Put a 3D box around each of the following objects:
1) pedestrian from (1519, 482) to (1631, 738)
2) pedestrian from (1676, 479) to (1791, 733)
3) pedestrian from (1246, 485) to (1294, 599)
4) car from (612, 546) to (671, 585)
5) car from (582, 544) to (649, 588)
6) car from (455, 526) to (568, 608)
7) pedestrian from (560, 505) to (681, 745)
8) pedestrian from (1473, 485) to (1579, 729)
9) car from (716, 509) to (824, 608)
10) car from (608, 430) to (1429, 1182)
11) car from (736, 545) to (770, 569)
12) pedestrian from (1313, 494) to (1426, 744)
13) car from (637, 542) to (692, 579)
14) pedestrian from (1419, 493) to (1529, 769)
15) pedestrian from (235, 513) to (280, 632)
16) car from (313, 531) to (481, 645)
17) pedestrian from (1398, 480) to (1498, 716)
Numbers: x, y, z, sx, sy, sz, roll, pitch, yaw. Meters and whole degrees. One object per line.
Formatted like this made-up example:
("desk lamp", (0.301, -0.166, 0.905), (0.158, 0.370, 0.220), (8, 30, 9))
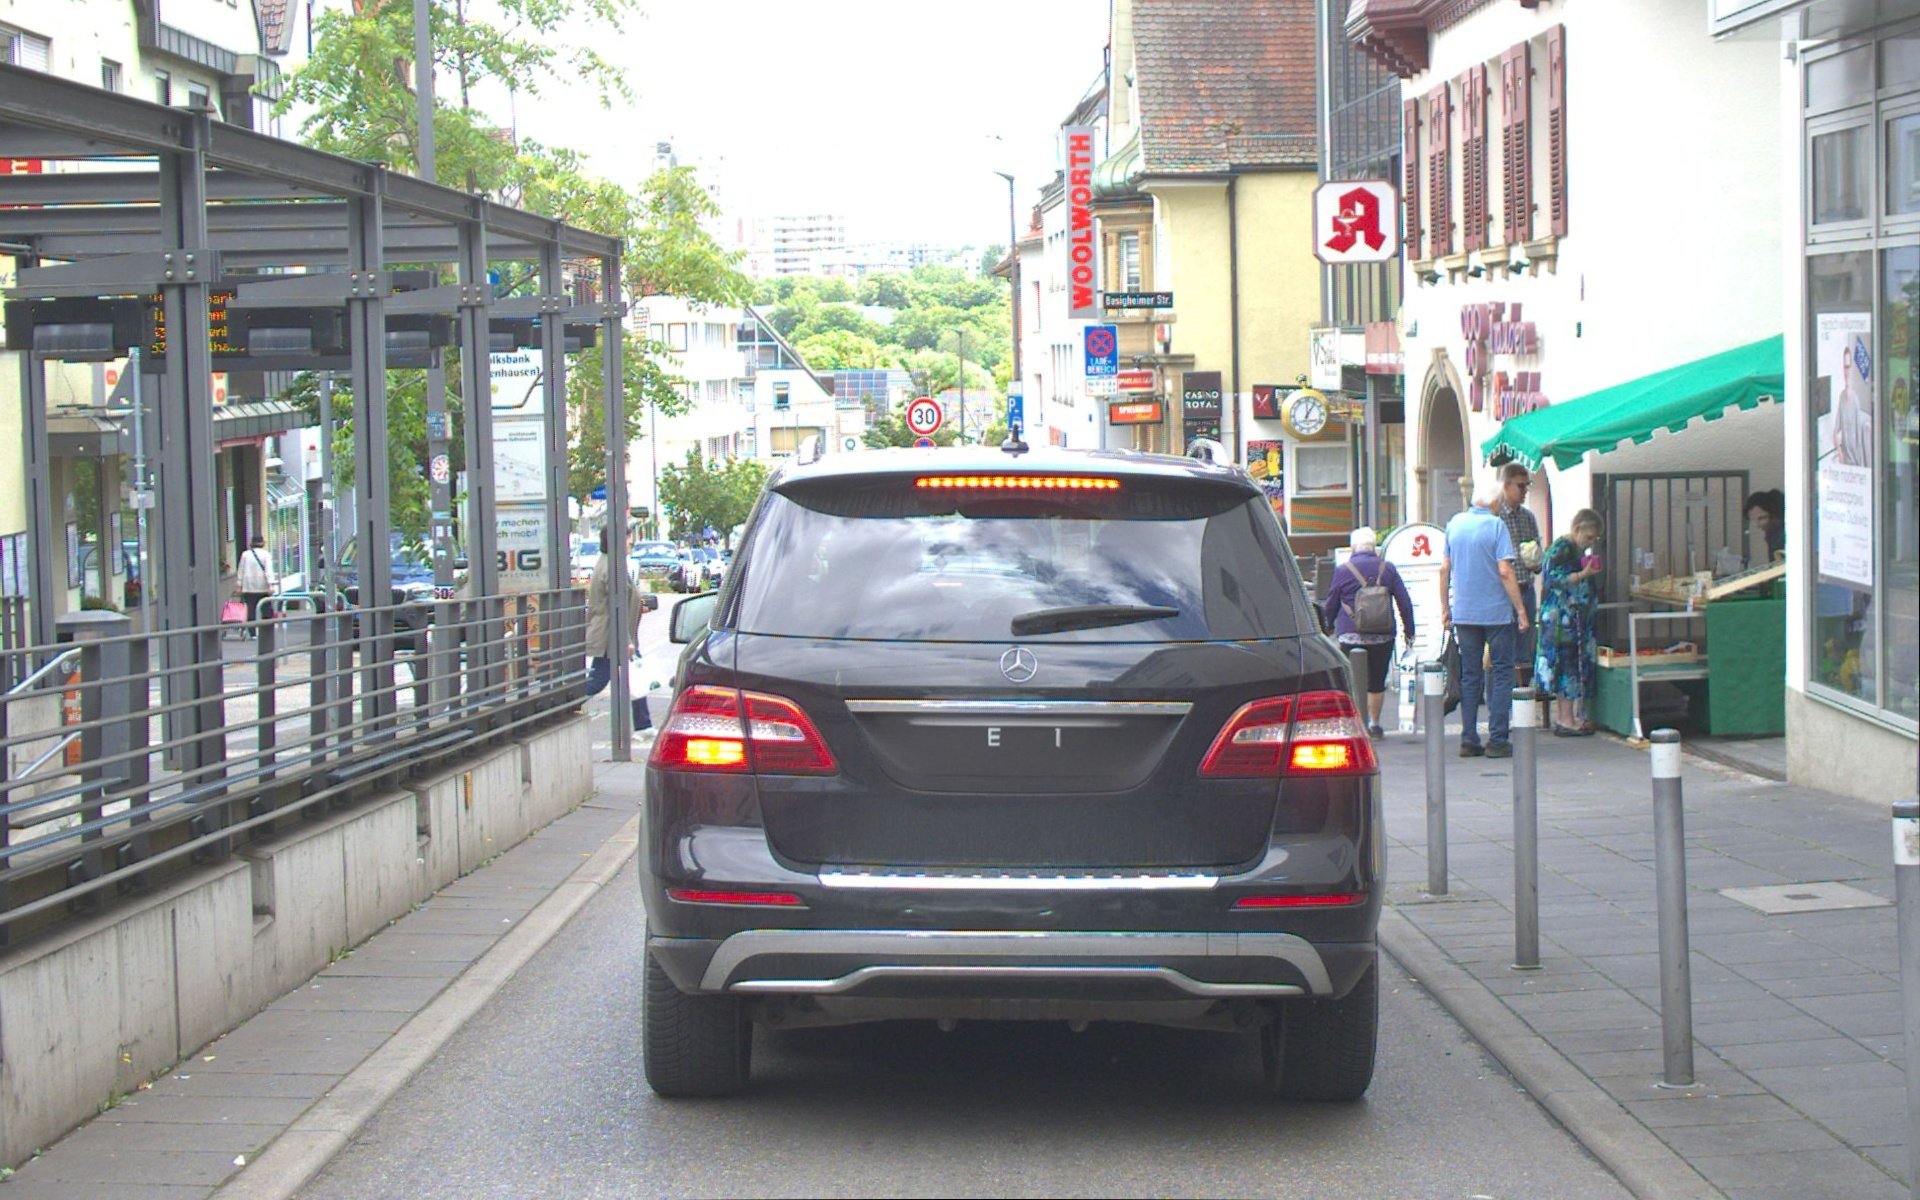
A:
("pedestrian", (4.124, 0.058, 23.081), (0.573, 1.683, 0.566), (-1, 1, -6))
("pedestrian", (5.221, 0.032, 23.218), (0.573, 1.683, 0.566), (-1, 1, -6))
("pedestrian", (4.638, -0.868, 51.409), (0.606, 1.683, 0.724), (-1, 1, -1))
("car", (-9.248, -1.016, 99.906), (1.388, 1.066, 3.113), (-1, 1, 0))
("car", (-8.827, -0.880, 88.303), (1.388, 1.066, 3.113), (-1, 1, 0))
("car", (-8.537, -0.650, 65.651), (1.660, 1.484, 3.748), (1, 1, 0))
("pedestrian", (-2.422, 0.170, 24.609), (0.765, 1.683, 0.727), (1, 1, 1))
("pedestrian", (3.964, 0.046, 24.097), (0.573, 1.683, 0.566), (1, 1, -6))
("car", (-3.419, -0.769, 62.431), (1.770, 1.707, 4.000), (1, 1, -1))
("car", (0.069, 0.445, 10.057), (1.900, 1.741, 4.001), (1, 1, -2))
("car", (-9.769, -2.041, 161.999), (1.388, 1.066, 3.113), (-1, 1, 0))
("pedestrian", (2.790, 0.123, 23.469), (0.621, 1.683, 0.566), (1, 1, -6))
("car", (-9.056, -1.229, 105.498), (1.388, 1.066, 3.113), (-1, 1, 0))
("pedestrian", (3.262, 0.190, 21.832), (0.542, 1.720, 0.528), (-1, 1, -6))
("pedestrian", (-10.029, -0.393, 49.103), (0.513, 1.683, 0.541), (1, 1, -1))
("car", (-7.867, -0.205, 48.345), (1.689, 1.484, 3.979), (1, 1, 0))
("pedestrian", (3.798, -0.022, 26.811), (0.639, 1.803, 0.685), (1, 1, -1))
